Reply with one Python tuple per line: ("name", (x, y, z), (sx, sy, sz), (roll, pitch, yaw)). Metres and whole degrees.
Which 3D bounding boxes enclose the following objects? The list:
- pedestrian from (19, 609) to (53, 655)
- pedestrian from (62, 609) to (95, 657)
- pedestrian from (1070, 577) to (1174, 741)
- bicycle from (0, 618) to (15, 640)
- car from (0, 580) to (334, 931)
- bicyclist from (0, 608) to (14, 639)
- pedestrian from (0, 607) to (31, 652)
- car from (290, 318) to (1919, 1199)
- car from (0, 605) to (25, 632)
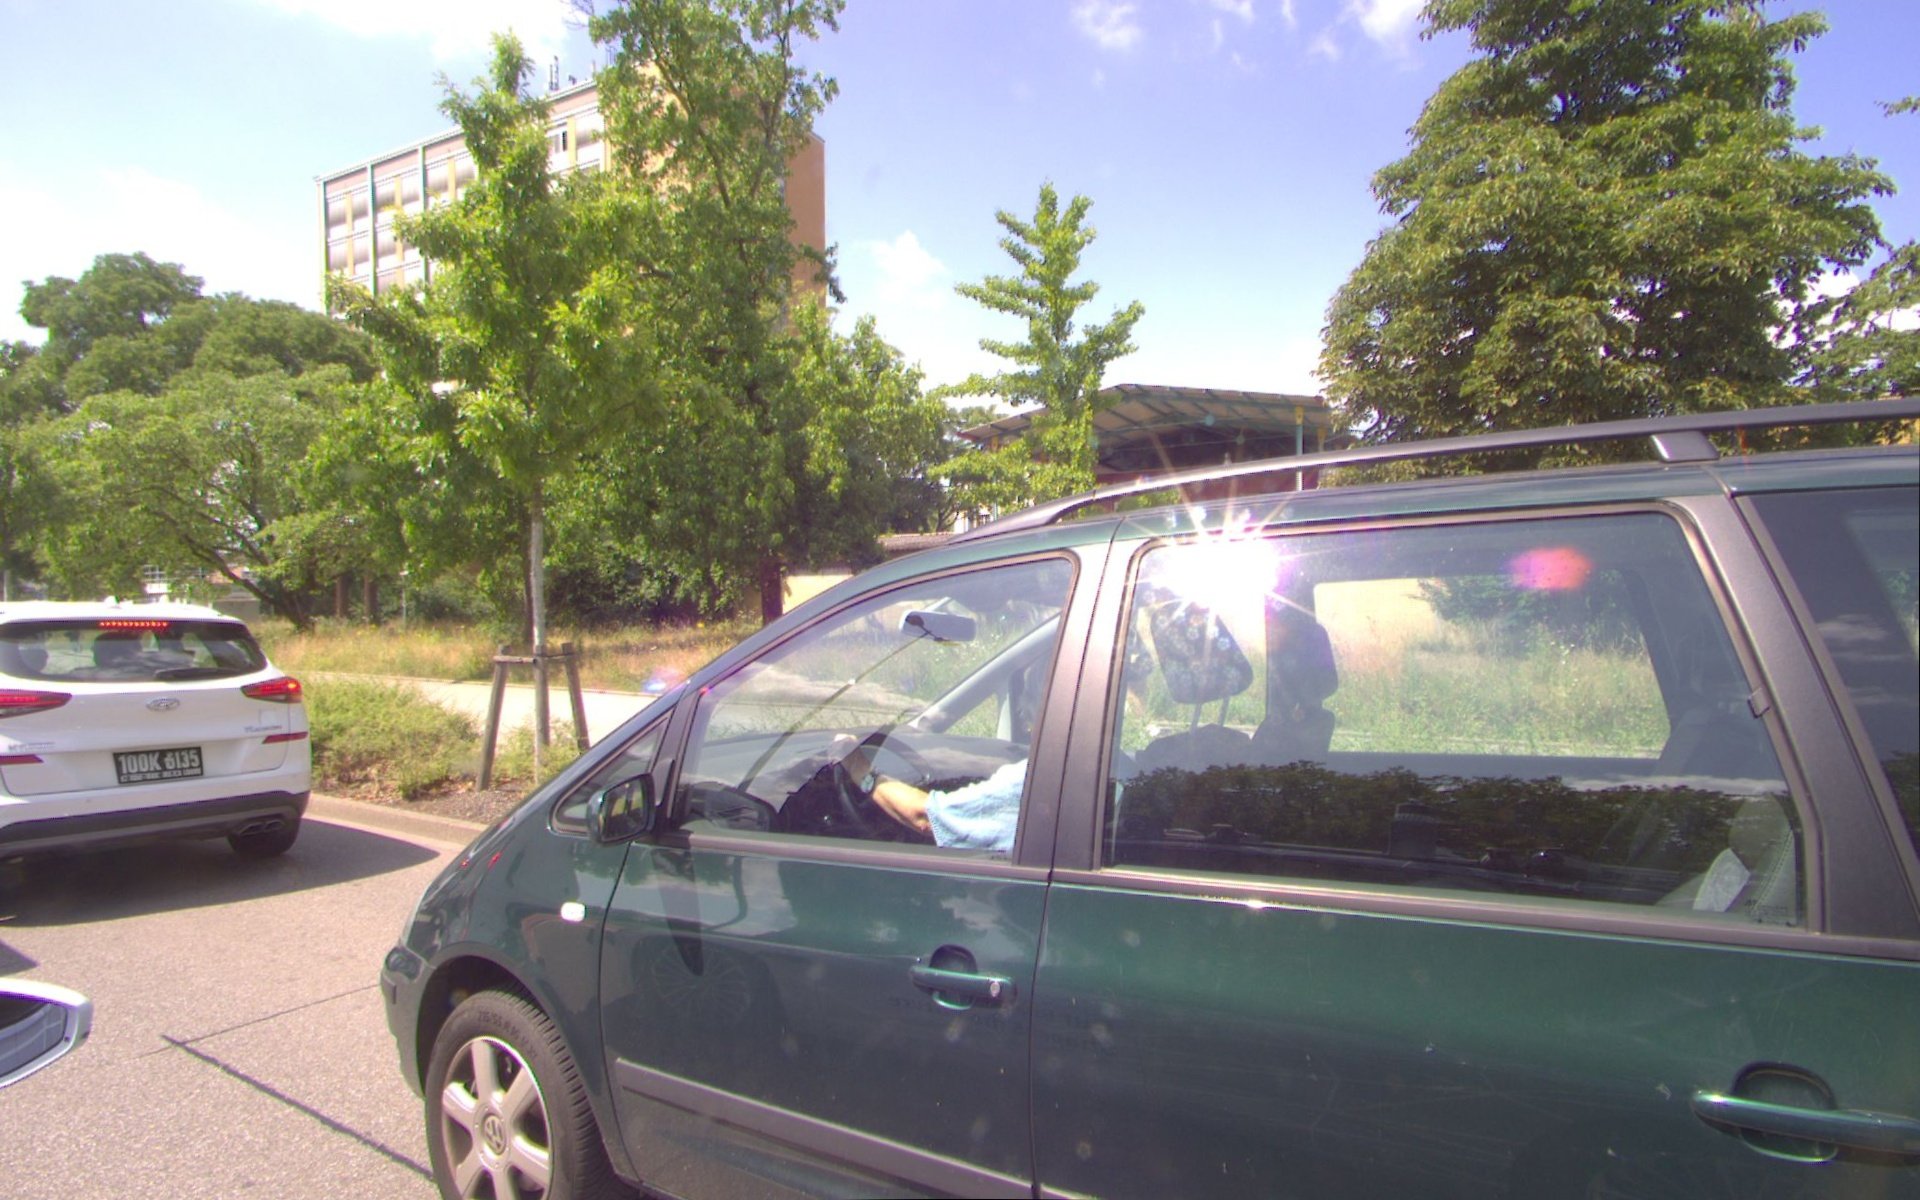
("pedestrian", (-34.009, 1.176, 36.848), (0.805, 1.677, 0.756), (0, 1, 36))
("pedestrian", (-35.114, 1.308, 39.882), (0.803, 1.874, 0.758), (0, 1, 29))
("pedestrian", (1.655, 0.571, 10.196), (0.805, 1.578, 0.756), (0, 1, 35))
("bicycle", (-68.395, 2.065, 71.332), (1.415, 1.483, 4.270), (0, 0, -42))
("car", (-5.938, 0.769, 6.446), (3.919, 1.701, 1.810), (0, 0, 34))
("bicyclist", (-68.561, 1.690, 71.520), (1.422, 2.200, 1.326), (-1, 1, -43))
("pedestrian", (-39.910, 1.253, 42.274), (0.802, 1.874, 0.759), (0, 1, 22))
("car", (0.538, 0.630, 2.283), (4.329, 1.737, 1.799), (0, -2, 32))
("car", (-99.740, 1.892, 101.882), (2.447, 2.751, 7.088), (0, -2, 1))
